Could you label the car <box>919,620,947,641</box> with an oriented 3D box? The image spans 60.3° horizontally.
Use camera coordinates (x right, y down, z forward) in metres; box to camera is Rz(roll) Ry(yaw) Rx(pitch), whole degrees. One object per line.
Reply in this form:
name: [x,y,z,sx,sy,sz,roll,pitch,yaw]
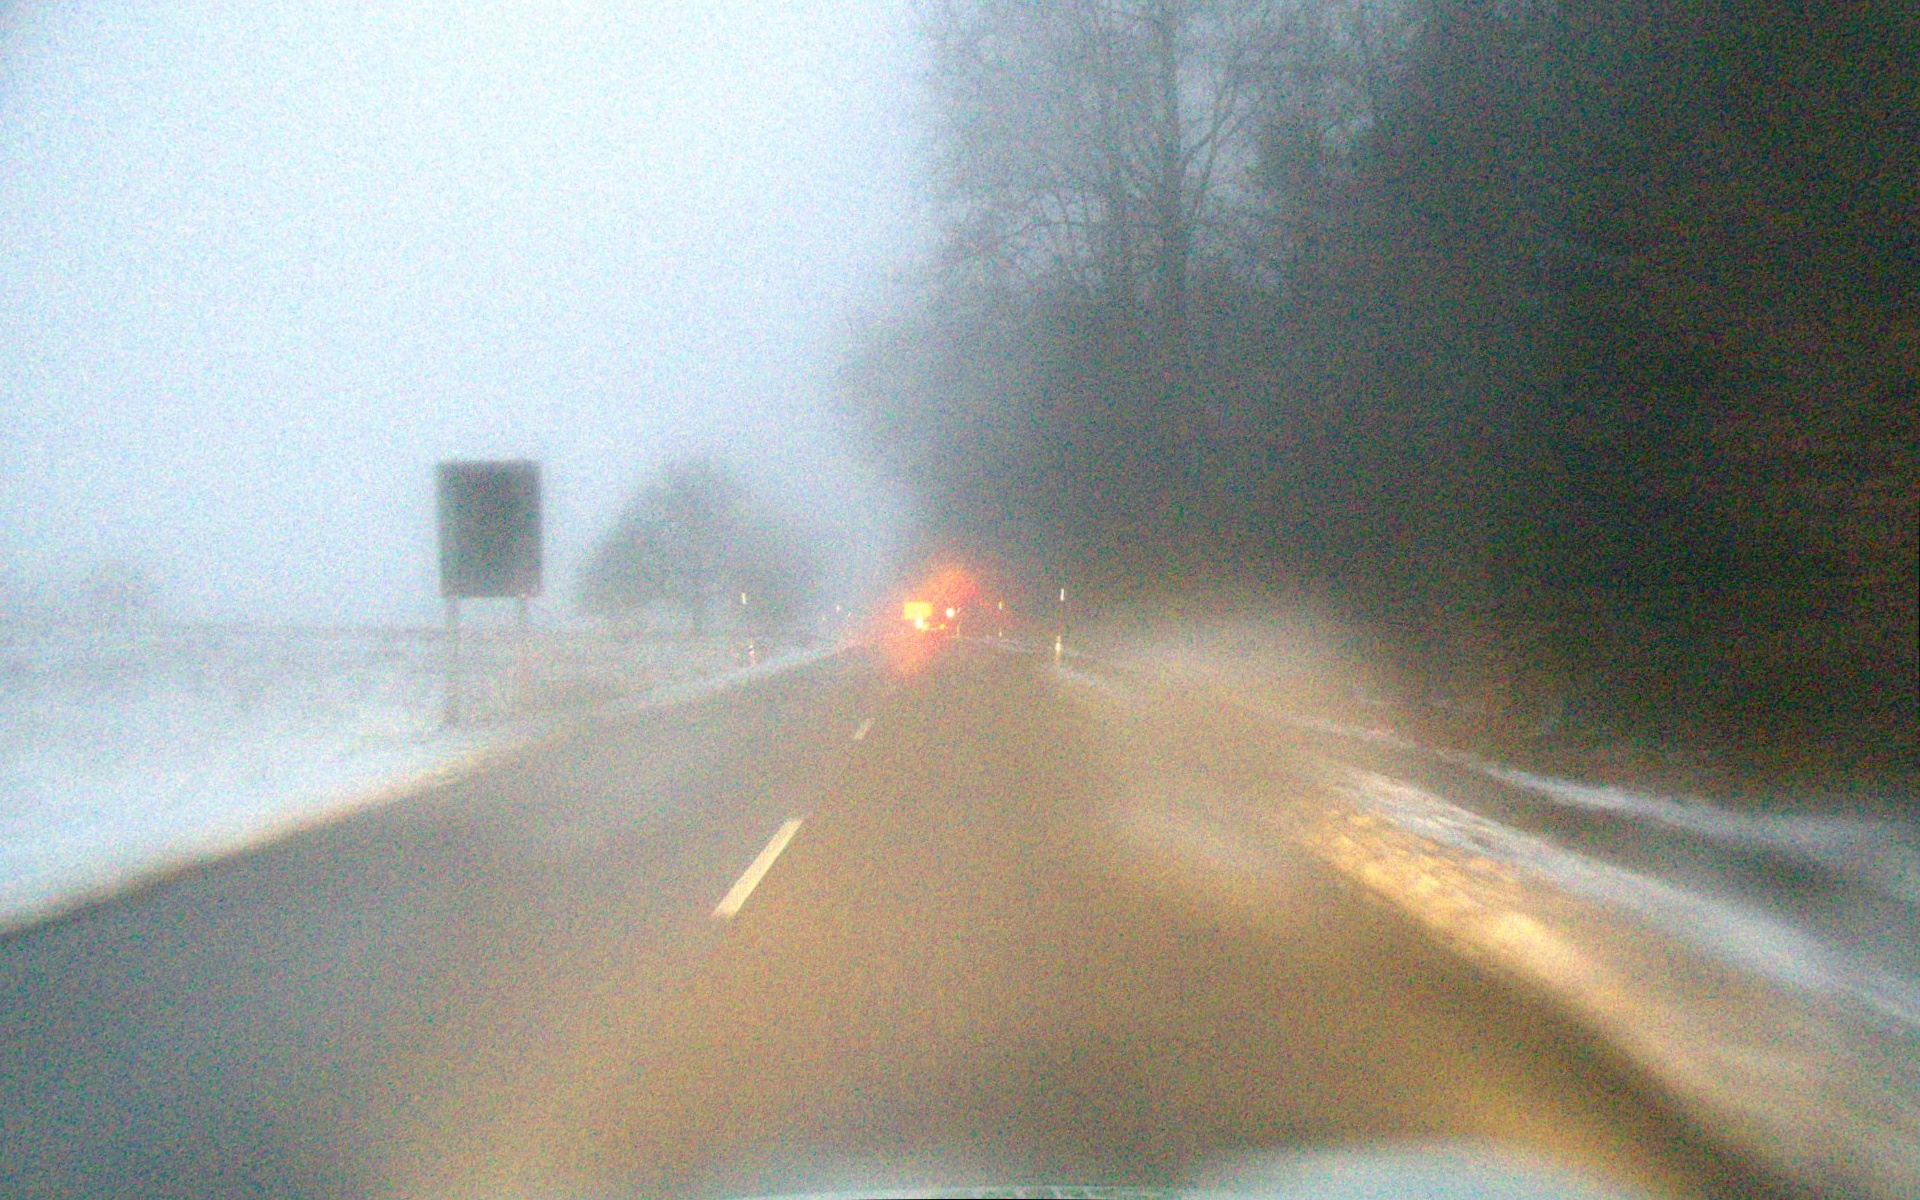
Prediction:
car: [-2.021,2.245,122.025,1.953,1.445,3.998,-2,-1,-2]
